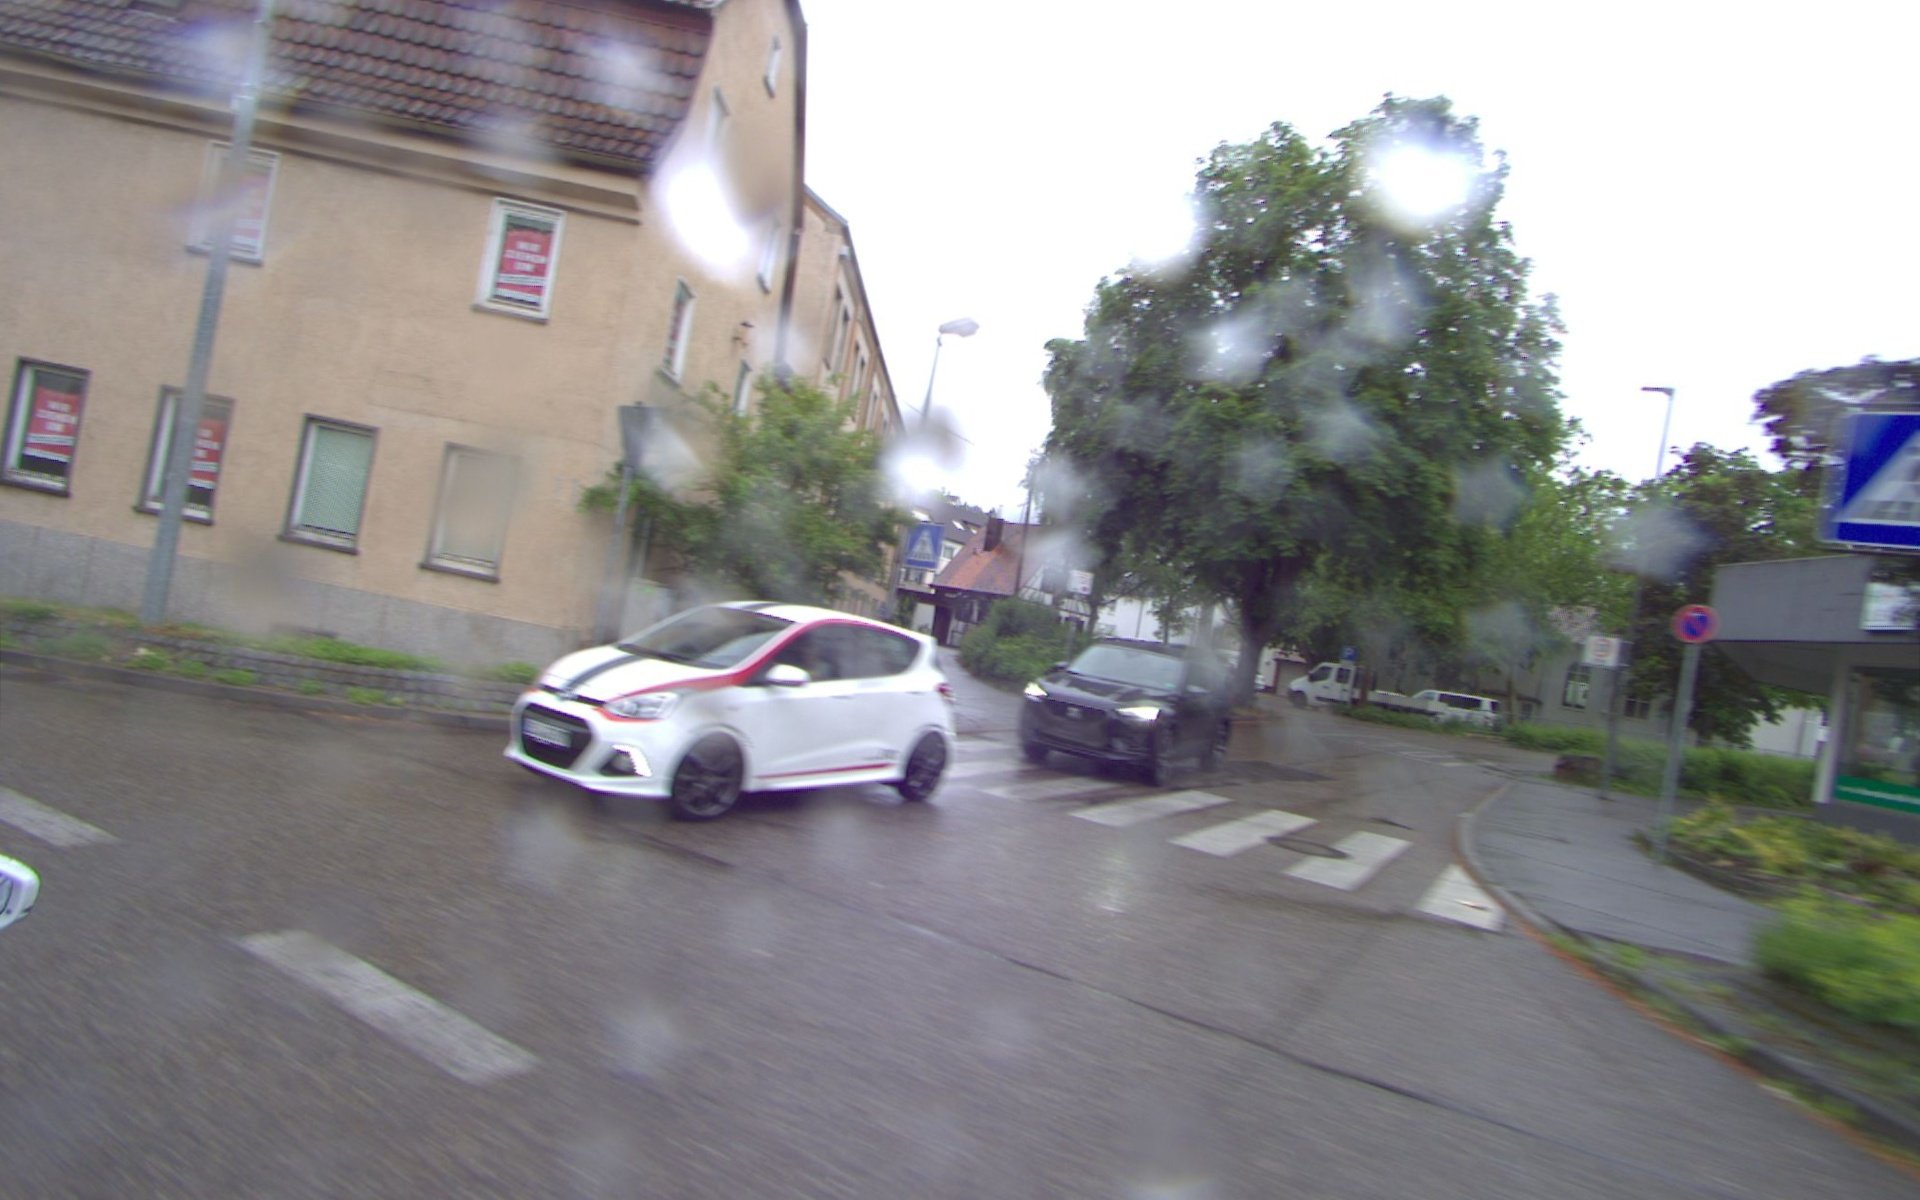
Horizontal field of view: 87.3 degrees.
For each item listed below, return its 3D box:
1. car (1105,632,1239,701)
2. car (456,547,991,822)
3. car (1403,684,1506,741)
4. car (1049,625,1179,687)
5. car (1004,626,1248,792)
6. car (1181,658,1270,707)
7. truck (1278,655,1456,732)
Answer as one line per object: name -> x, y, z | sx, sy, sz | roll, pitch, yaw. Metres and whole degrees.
car -> 6.874, 2.158, 32.948 | 3.834, 1.591, 1.719 | 9, -1, -1
car -> -1.581, 0.684, 7.886 | 1.685, 1.469, 3.755 | 9, -1, 36
car -> 23.594, 5.355, 48.056 | 1.849, 1.854, 3.786 | 13, -3, -44
car -> 5.782, 2.094, 37.765 | 4.353, 1.591, 1.714 | 9, -1, -15
car -> 2.384, 1.410, 13.308 | 1.689, 1.591, 4.417 | 8, -1, 28
car -> 14.661, 4.543, 55.679 | 1.799, 1.896, 4.250 | 13, -4, -44
truck -> 17.437, 3.959, 43.461 | 2.291, 2.302, 6.610 | 8, -1, -41
